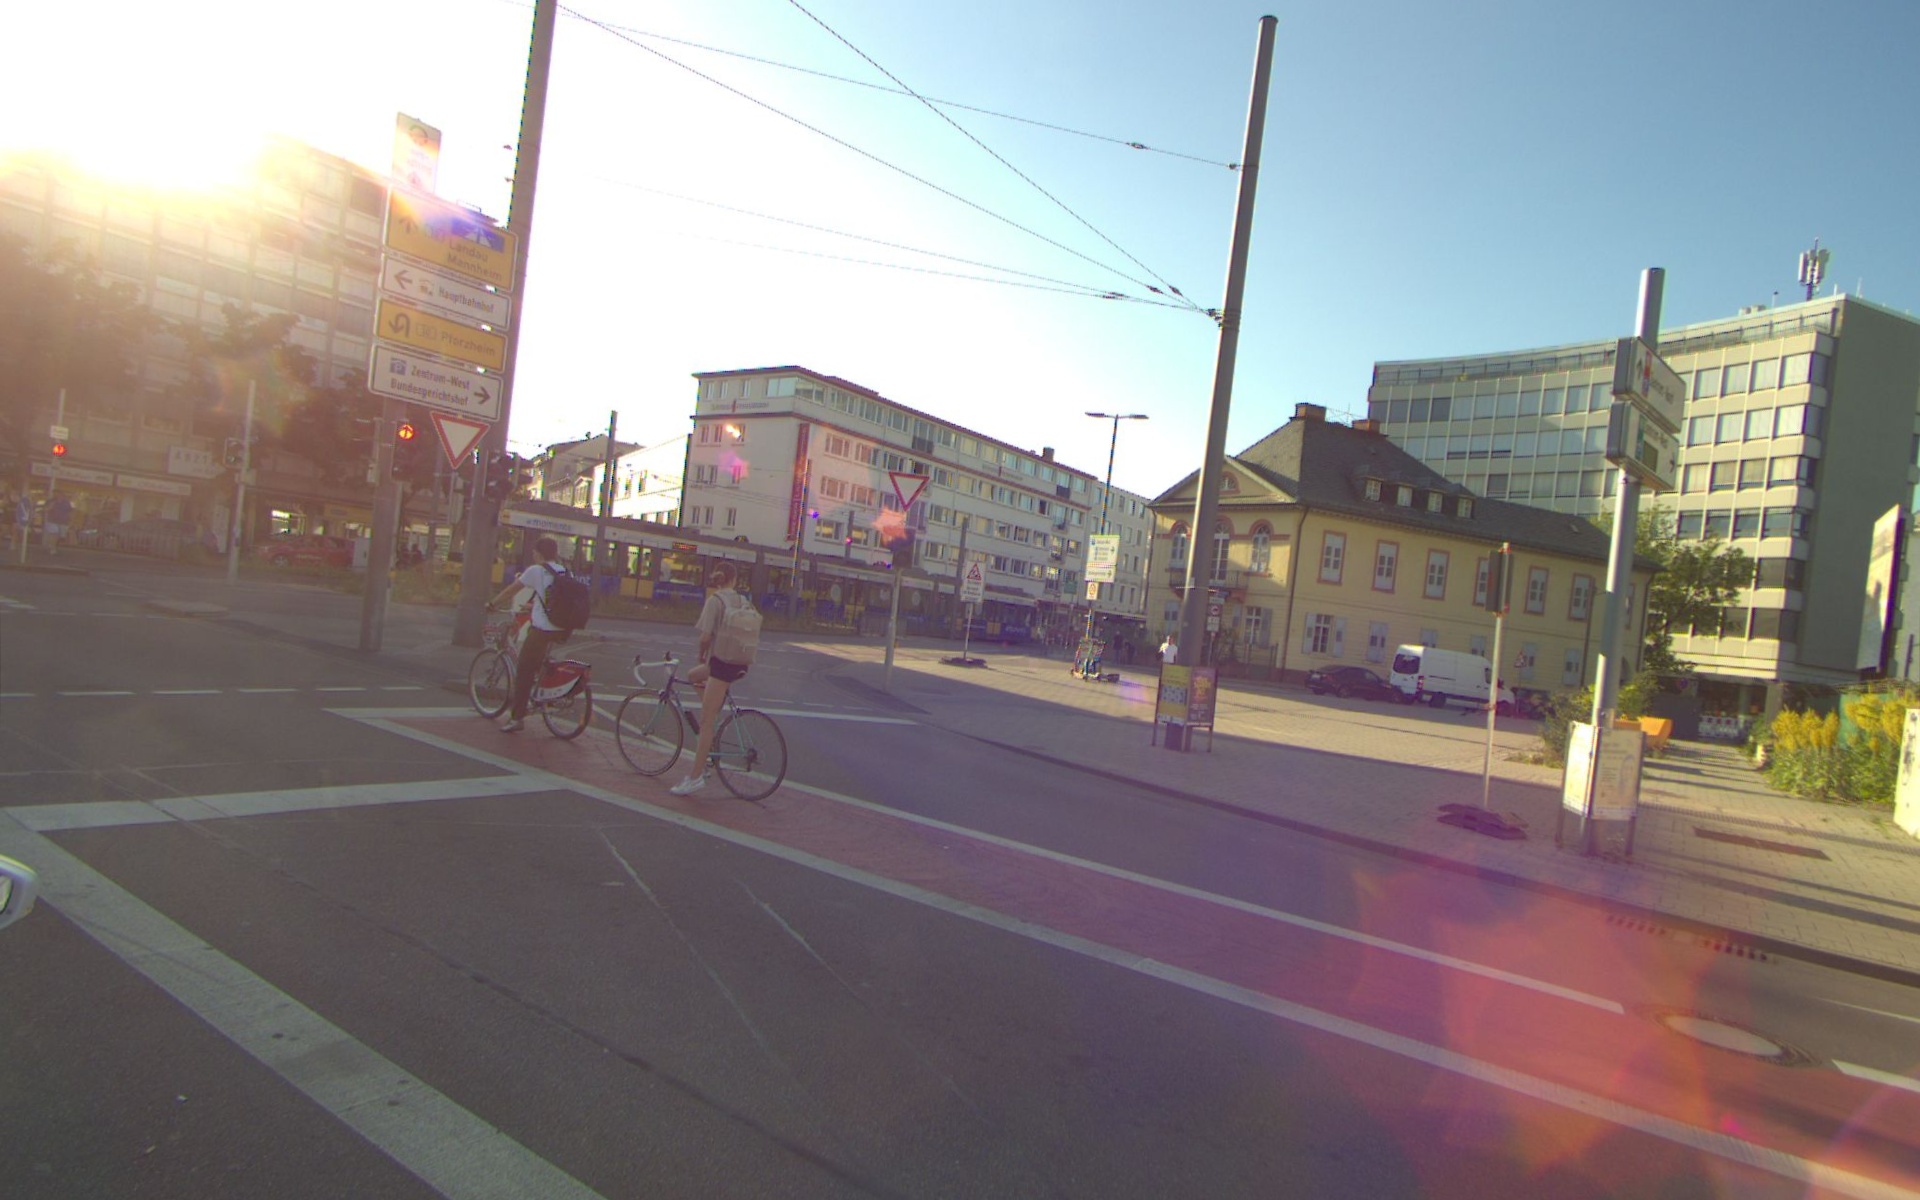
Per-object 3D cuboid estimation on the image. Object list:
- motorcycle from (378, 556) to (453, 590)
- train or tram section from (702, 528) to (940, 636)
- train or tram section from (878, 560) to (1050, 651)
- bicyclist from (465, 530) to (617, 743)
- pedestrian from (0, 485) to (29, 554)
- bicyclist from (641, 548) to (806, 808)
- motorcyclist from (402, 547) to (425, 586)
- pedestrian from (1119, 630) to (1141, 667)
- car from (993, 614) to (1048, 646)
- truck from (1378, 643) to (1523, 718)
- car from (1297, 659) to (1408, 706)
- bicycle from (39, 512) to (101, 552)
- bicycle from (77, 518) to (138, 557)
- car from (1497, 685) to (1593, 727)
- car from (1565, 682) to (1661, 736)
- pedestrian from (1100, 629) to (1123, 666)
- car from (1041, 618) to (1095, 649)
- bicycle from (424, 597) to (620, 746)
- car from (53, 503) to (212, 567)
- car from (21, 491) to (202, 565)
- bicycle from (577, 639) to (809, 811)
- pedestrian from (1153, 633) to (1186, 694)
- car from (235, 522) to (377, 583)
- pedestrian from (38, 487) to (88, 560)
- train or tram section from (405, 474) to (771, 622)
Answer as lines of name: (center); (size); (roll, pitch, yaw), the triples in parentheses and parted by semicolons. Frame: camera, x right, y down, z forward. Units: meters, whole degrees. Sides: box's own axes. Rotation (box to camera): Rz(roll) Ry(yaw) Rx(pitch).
motorcycle: (-22.213, -1.085, 41.110); (0.527, 1.013, 2.664); (6, -2, 36)
train or tram section: (-6.297, -0.651, 49.421); (3.656, 3.880, 12.948); (6, -1, 33)
train or tram section: (0.615, 0.533, 60.320); (3.655, 3.877, 12.960); (6, -2, 32)
bicyclist: (-3.820, 0.321, 9.175); (1.042, 1.789, 0.543); (7, -1, 27)
pedestrian: (-25.073, -2.128, 26.432); (1.029, 1.702, 0.694); (6, -1, 45)
bicyclist: (-1.752, 0.563, 7.483); (0.778, 1.766, 0.615); (7, -1, 27)
motorcyclist: (-22.273, -1.356, 40.993); (0.527, 1.526, 0.460); (6, -1, 37)
pedestrian: (8.088, 2.310, 47.923); (0.802, 1.661, 0.687); (7, -1, 15)
car: (5.037, 2.501, 83.389); (1.970, 2.036, 4.858); (6, -2, 38)
truck: (21.829, 3.572, 44.806); (5.556, 2.578, 2.294); (8, -2, -17)
car: (16.618, 3.479, 42.592); (4.133, 1.380, 1.709); (8, -2, -17)
bicycle: (-34.500, -2.633, 38.984); (2.594, 1.157, 0.751); (9, 0, 26)
bicycle: (-33.922, -2.506, 40.028); (2.594, 1.157, 0.751); (9, 0, 26)
car: (27.090, 4.921, 46.588); (3.706, 1.380, 1.709); (8, -2, -17)
car: (31.148, 5.199, 47.976); (3.706, 2.003, 1.709); (8, -2, -17)
pedestrian: (7.237, 2.257, 48.029); (0.802, 1.661, 0.687); (7, -1, 15)
car: (8.932, 2.776, 82.758); (1.970, 2.036, 4.858); (6, -2, 38)
bicycle: (-4.043, 0.635, 9.250); (1.777, 1.113, 0.543); (6, -1, 27)
car: (-30.313, -2.349, 36.947); (1.816, 1.636, 4.071); (6, -2, 36)
car: (-26.887, -2.260, 31.997); (1.816, 1.636, 3.990); (6, -2, 36)
bicycle: (-2.044, 0.914, 7.644); (1.664, 1.013, 0.543); (6, -1, 27)
pedestrian: (6.504, 1.964, 31.195); (0.746, 1.783, 1.009); (7, -1, 16)
car: (-24.472, -1.742, 37.769); (1.816, 1.636, 3.990); (6, -2, 36)
pedestrian: (-23.960, -2.040, 26.865); (1.027, 1.814, 0.695); (6, -1, 40)
train or tram section: (-13.377, -1.647, 38.447); (3.655, 3.880, 13.329); (6, -1, 33)
